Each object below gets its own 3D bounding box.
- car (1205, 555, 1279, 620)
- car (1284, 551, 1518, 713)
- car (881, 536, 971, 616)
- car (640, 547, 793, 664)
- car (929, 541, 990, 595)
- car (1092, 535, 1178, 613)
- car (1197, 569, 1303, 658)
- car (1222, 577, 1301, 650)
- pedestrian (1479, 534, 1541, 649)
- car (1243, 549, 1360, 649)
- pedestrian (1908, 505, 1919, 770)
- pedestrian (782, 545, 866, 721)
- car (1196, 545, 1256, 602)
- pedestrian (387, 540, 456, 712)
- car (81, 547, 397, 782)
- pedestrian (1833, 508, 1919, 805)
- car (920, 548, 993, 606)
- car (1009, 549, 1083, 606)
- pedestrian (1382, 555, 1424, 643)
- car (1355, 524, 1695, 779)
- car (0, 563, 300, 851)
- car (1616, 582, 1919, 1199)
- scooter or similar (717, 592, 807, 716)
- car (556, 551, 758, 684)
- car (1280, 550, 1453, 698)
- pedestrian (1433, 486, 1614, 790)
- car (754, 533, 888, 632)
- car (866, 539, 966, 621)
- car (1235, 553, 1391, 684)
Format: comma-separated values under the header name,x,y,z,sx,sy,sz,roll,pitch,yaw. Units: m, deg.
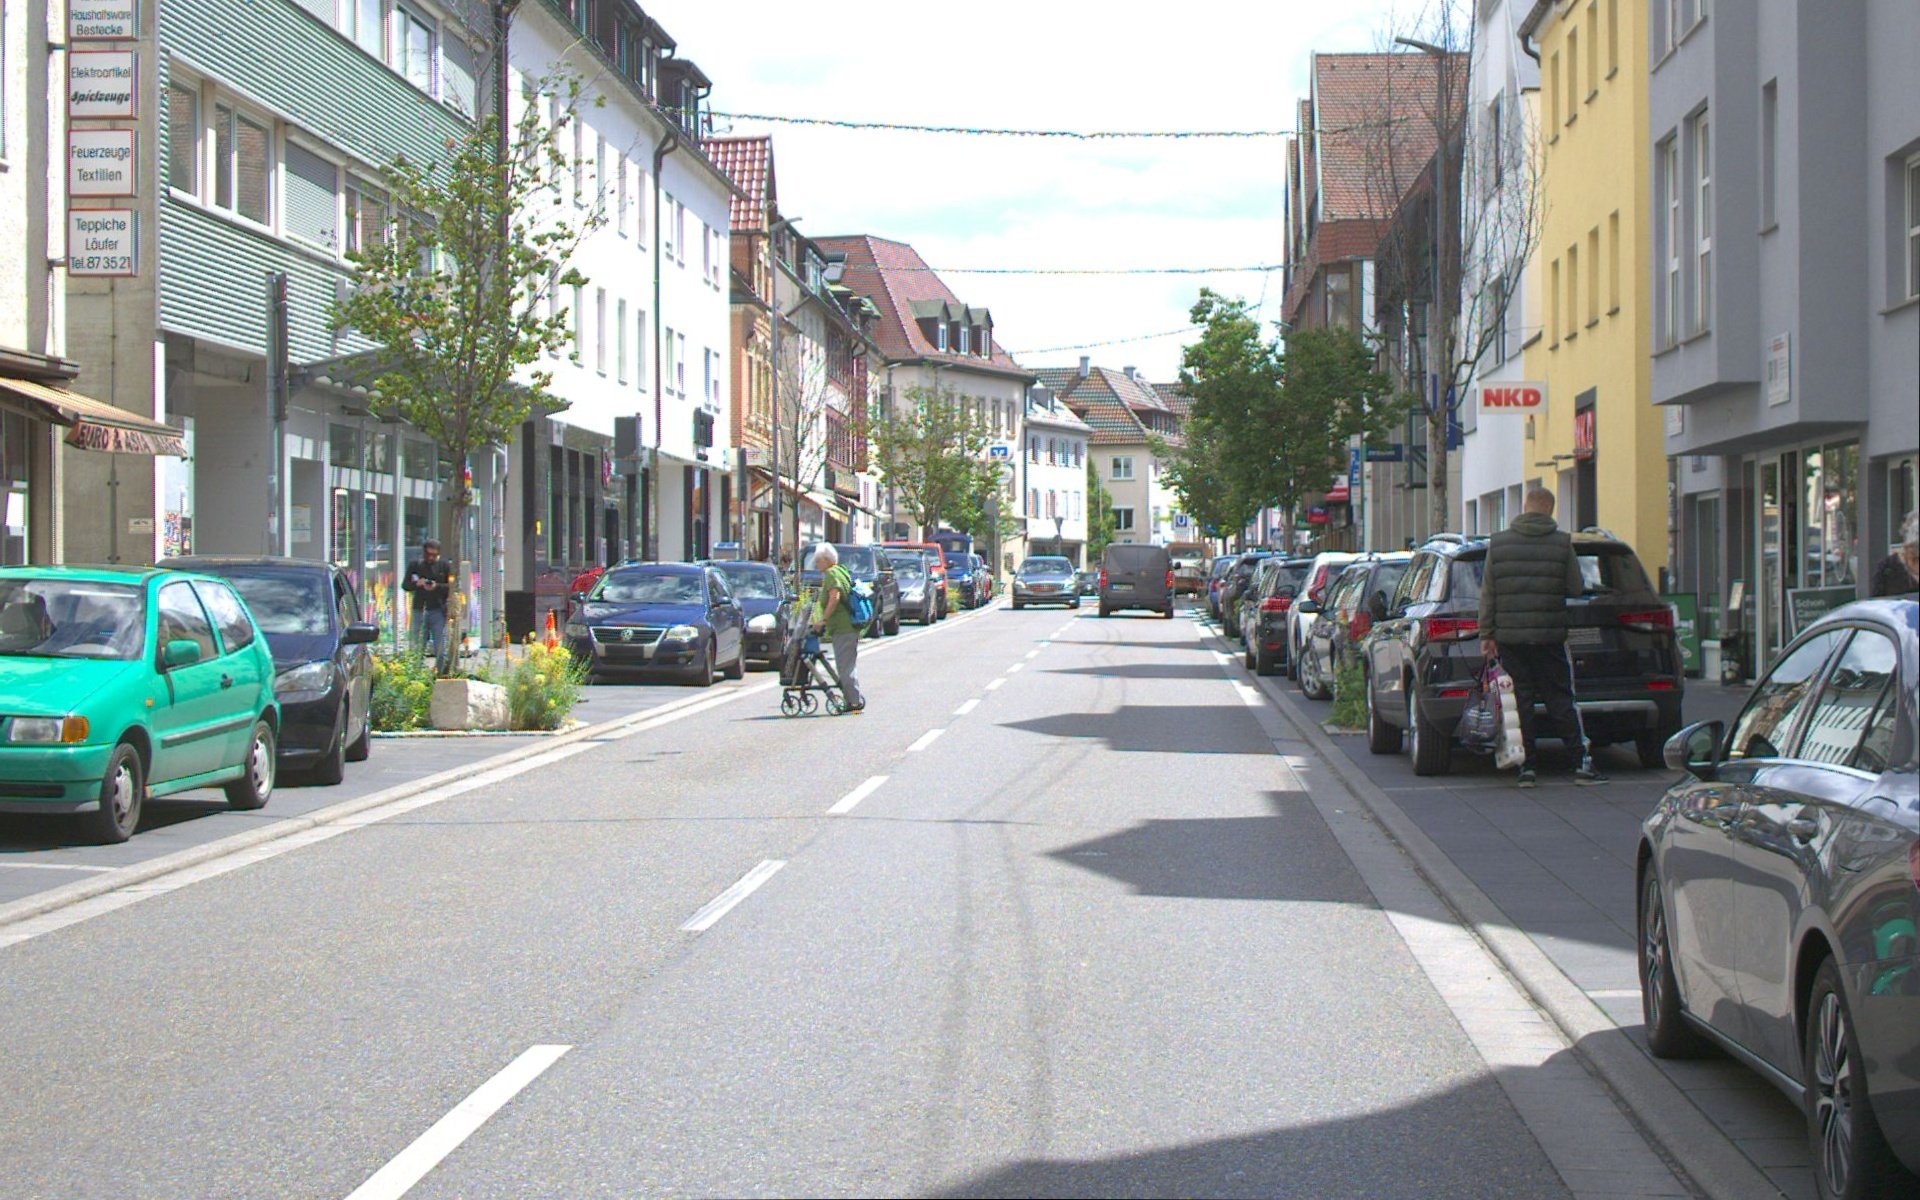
name,x,y,z,sx,sy,sz,roll,pitch,yaw
car,6.911,-0.292,84.278,1.721,1.488,4.108,2,0,5
car,4.269,0.296,33.842,1.689,1.435,4.296,-2,0,0
car,-0.820,-0.575,86.118,1.816,1.882,4.840,2,0,4
car,-3.348,0.051,47.885,1.790,1.498,4.178,2,1,0
car,-0.006,-0.960,104.078,1.799,1.598,4.351,0,1,0
car,4.462,-0.636,86.882,2.041,1.842,4.998,2,0,4
car,5.396,0.249,64.286,1.721,1.571,4.109,2,0,2
car,6.885,0.299,78.763,1.721,1.571,4.428,2,0,5
pedestrian,7.470,-0.112,46.744,0.750,1.548,0.726,0,0,3
car,5.384,-0.016,54.594,1.721,1.471,4.353,2,0,5
pedestrian,6.478,0.248,22.166,0.535,1.712,0.606,2,0,2
pedestrian,-1.267,0.306,32.140,0.731,1.612,0.651,2,0,-1
car,7.374,-0.746,95.288,1.610,1.527,3.794,-1,1,5
pedestrian,-5.594,0.271,35.744,0.548,1.751,0.729,2,0,0
car,-4.860,0.407,23.566,1.596,1.441,3.557,2,0,-4
pedestrian,5.572,0.326,20.166,0.743,1.712,0.656,0,0,2
car,-0.090,-0.669,98.461,1.799,1.592,4.388,1,1,4
car,2.504,-0.640,99.392,1.905,1.558,4.645,2,0,4
pedestrian,8.913,-0.020,69.212,0.741,1.731,0.757,2,0,4
car,3.873,0.301,24.217,1.799,1.598,4.204,-1,1,2
car,-4.932,0.515,18.847,1.586,1.409,3.667,2,0,5
car,2.733,0.707,8.635,1.707,1.415,4.317,2,0,6
scooter or similar,-1.844,0.503,32.125,0.781,1.122,0.630,2,0,-1
car,-3.646,0.184,42.127,1.790,1.507,4.712,1,1,3
car,4.614,0.267,39.434,1.689,1.568,3.756,2,0,3
pedestrian,3.552,0.236,21.736,0.975,1.857,0.864,-2,0,2
car,-2.587,-0.312,65.002,1.816,1.749,4.667,2,0,6
car,-0.961,-0.439,78.063,1.816,1.749,4.463,2,0,5
car,4.495,0.195,44.302,1.689,1.467,4.523,2,2,2
